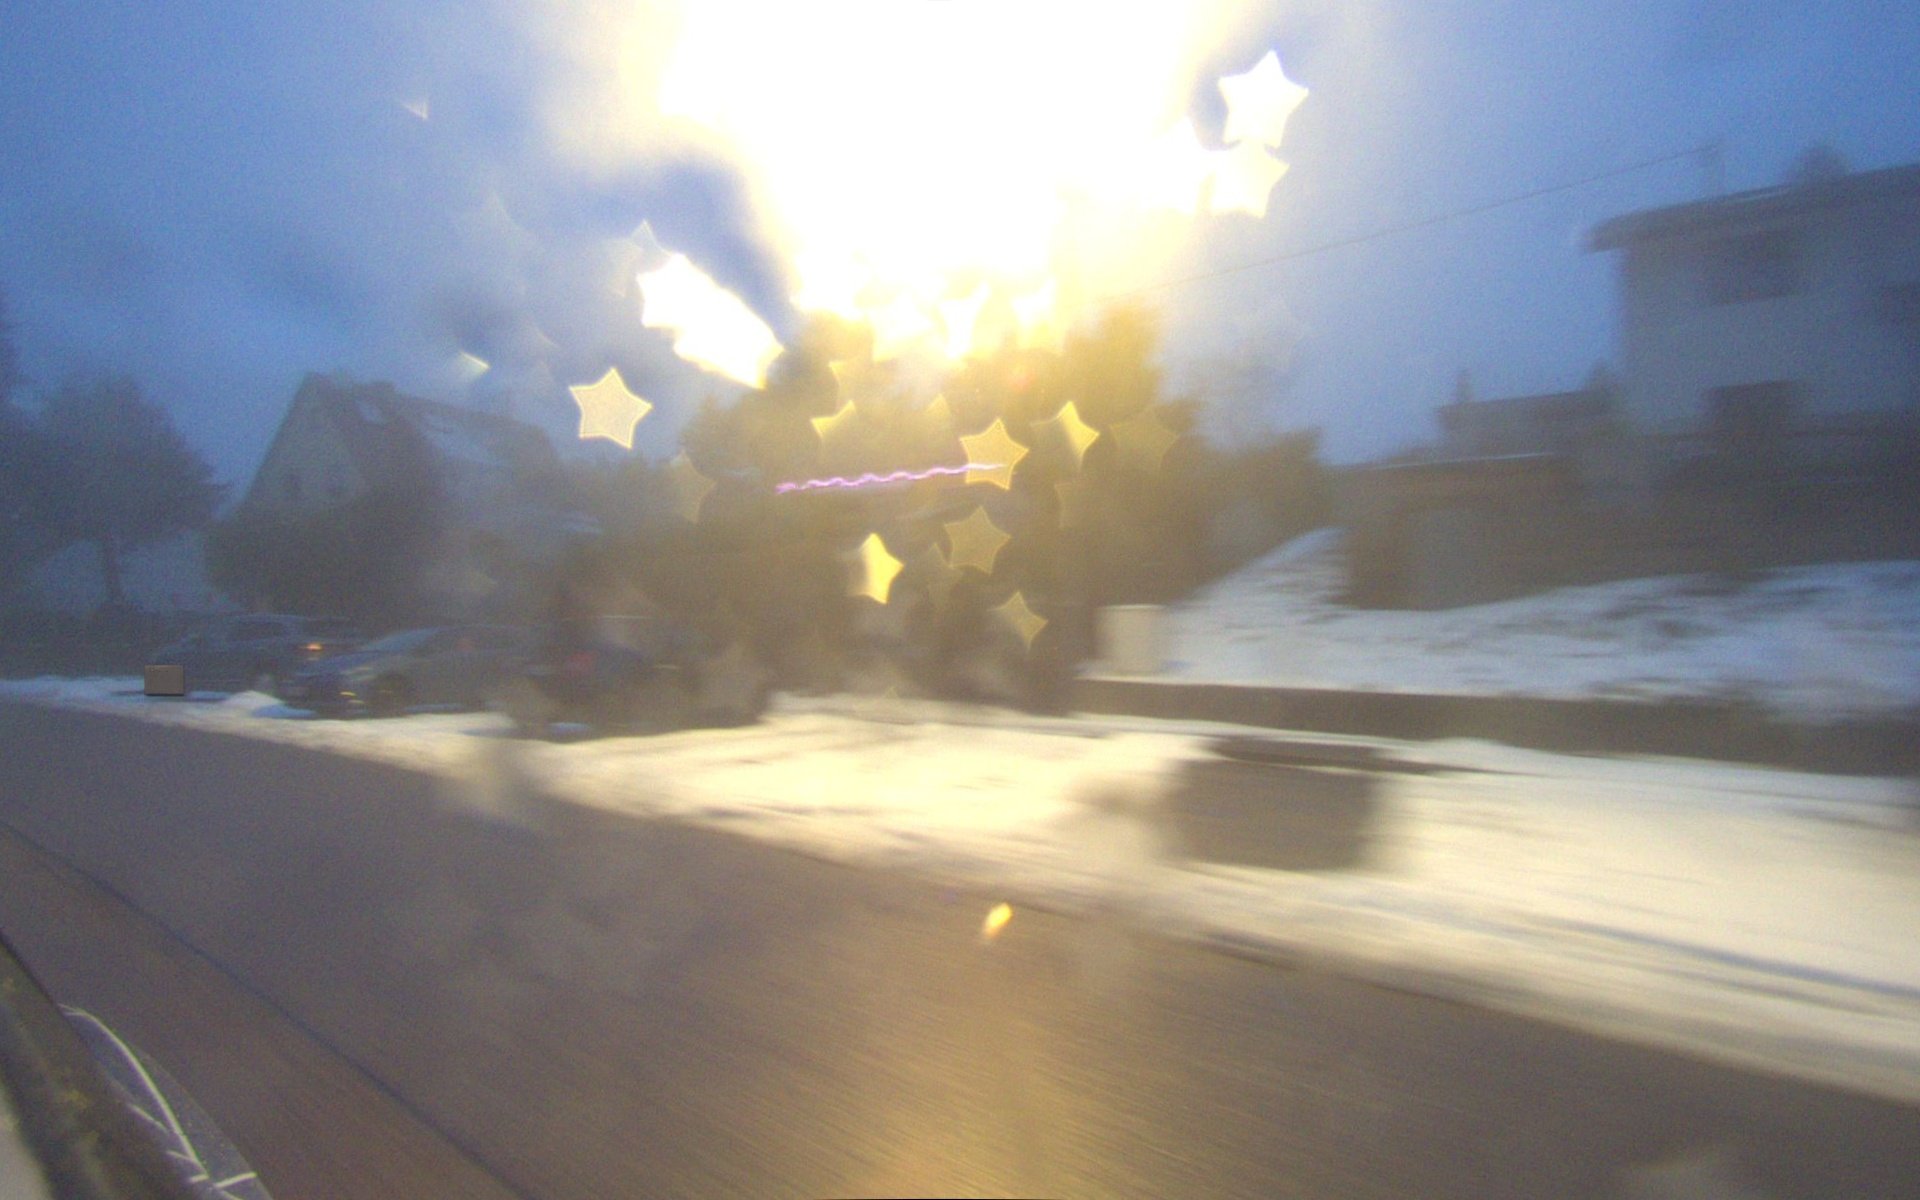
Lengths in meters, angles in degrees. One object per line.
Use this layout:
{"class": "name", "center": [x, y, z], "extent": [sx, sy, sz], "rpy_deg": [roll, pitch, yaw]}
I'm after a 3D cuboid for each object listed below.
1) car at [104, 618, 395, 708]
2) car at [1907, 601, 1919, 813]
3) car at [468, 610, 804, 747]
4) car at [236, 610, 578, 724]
{"class": "car", "center": [-13.656, 1.187, 19.497], "extent": [4.956, 1.578, 1.988], "rpy_deg": [-1, -4, 18]}
{"class": "car", "center": [6.361, 0.648, 4.741], "extent": [2.119, 1.496, 4.844], "rpy_deg": [-2, -3, 35]}
{"class": "car", "center": [-4.014, 0.941, 13.118], "extent": [1.932, 1.483, 3.825], "rpy_deg": [-2, -3, 32]}
{"class": "car", "center": [-8.750, 1.039, 16.488], "extent": [2.100, 1.578, 4.500], "rpy_deg": [-1, -3, 27]}
